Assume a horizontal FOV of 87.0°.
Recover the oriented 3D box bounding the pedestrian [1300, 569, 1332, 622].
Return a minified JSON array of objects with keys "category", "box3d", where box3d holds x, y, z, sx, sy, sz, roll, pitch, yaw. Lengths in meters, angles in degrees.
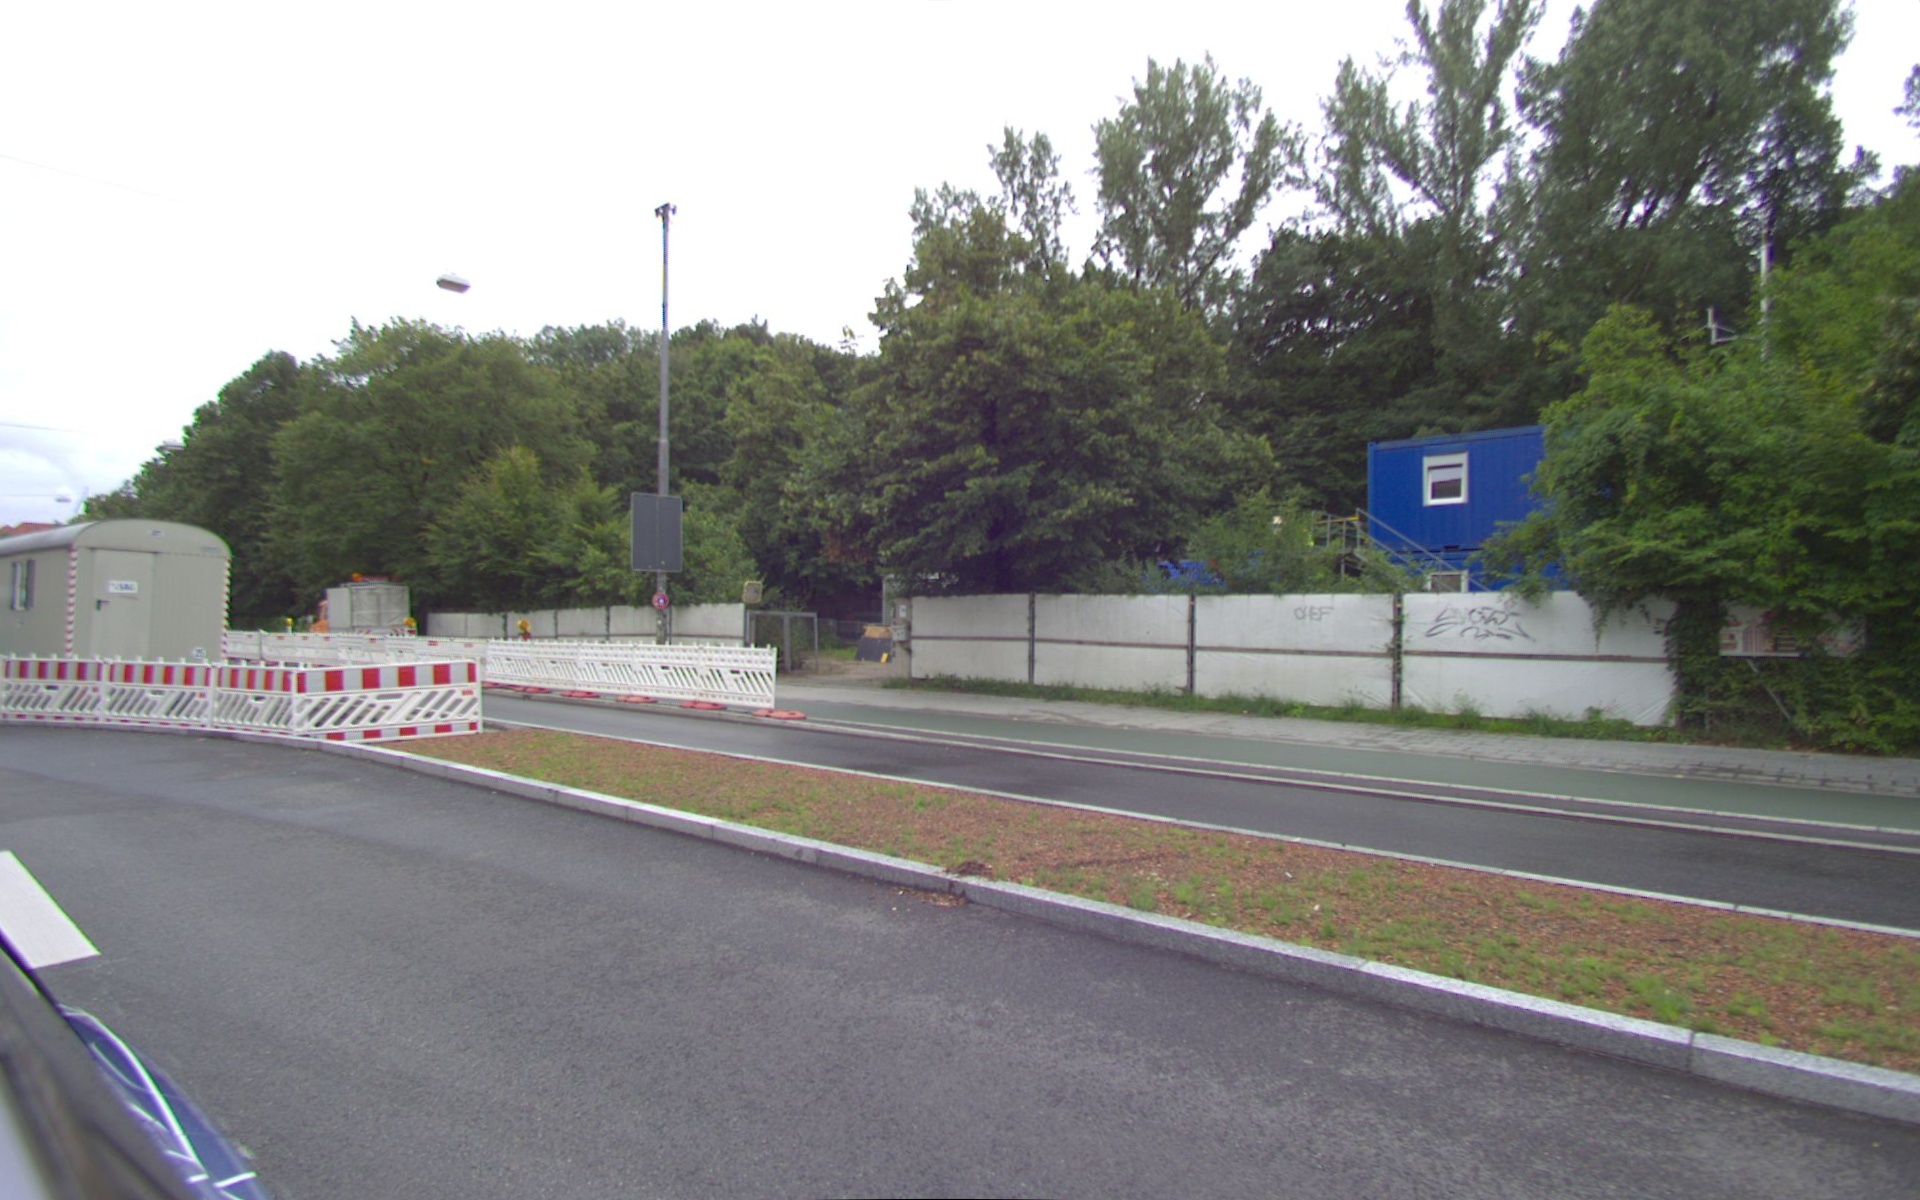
[{"category":"pedestrian","box3d":[12.320,-0.135,34.990,0.832,1.788,0.786,-1,-2,37]}]
